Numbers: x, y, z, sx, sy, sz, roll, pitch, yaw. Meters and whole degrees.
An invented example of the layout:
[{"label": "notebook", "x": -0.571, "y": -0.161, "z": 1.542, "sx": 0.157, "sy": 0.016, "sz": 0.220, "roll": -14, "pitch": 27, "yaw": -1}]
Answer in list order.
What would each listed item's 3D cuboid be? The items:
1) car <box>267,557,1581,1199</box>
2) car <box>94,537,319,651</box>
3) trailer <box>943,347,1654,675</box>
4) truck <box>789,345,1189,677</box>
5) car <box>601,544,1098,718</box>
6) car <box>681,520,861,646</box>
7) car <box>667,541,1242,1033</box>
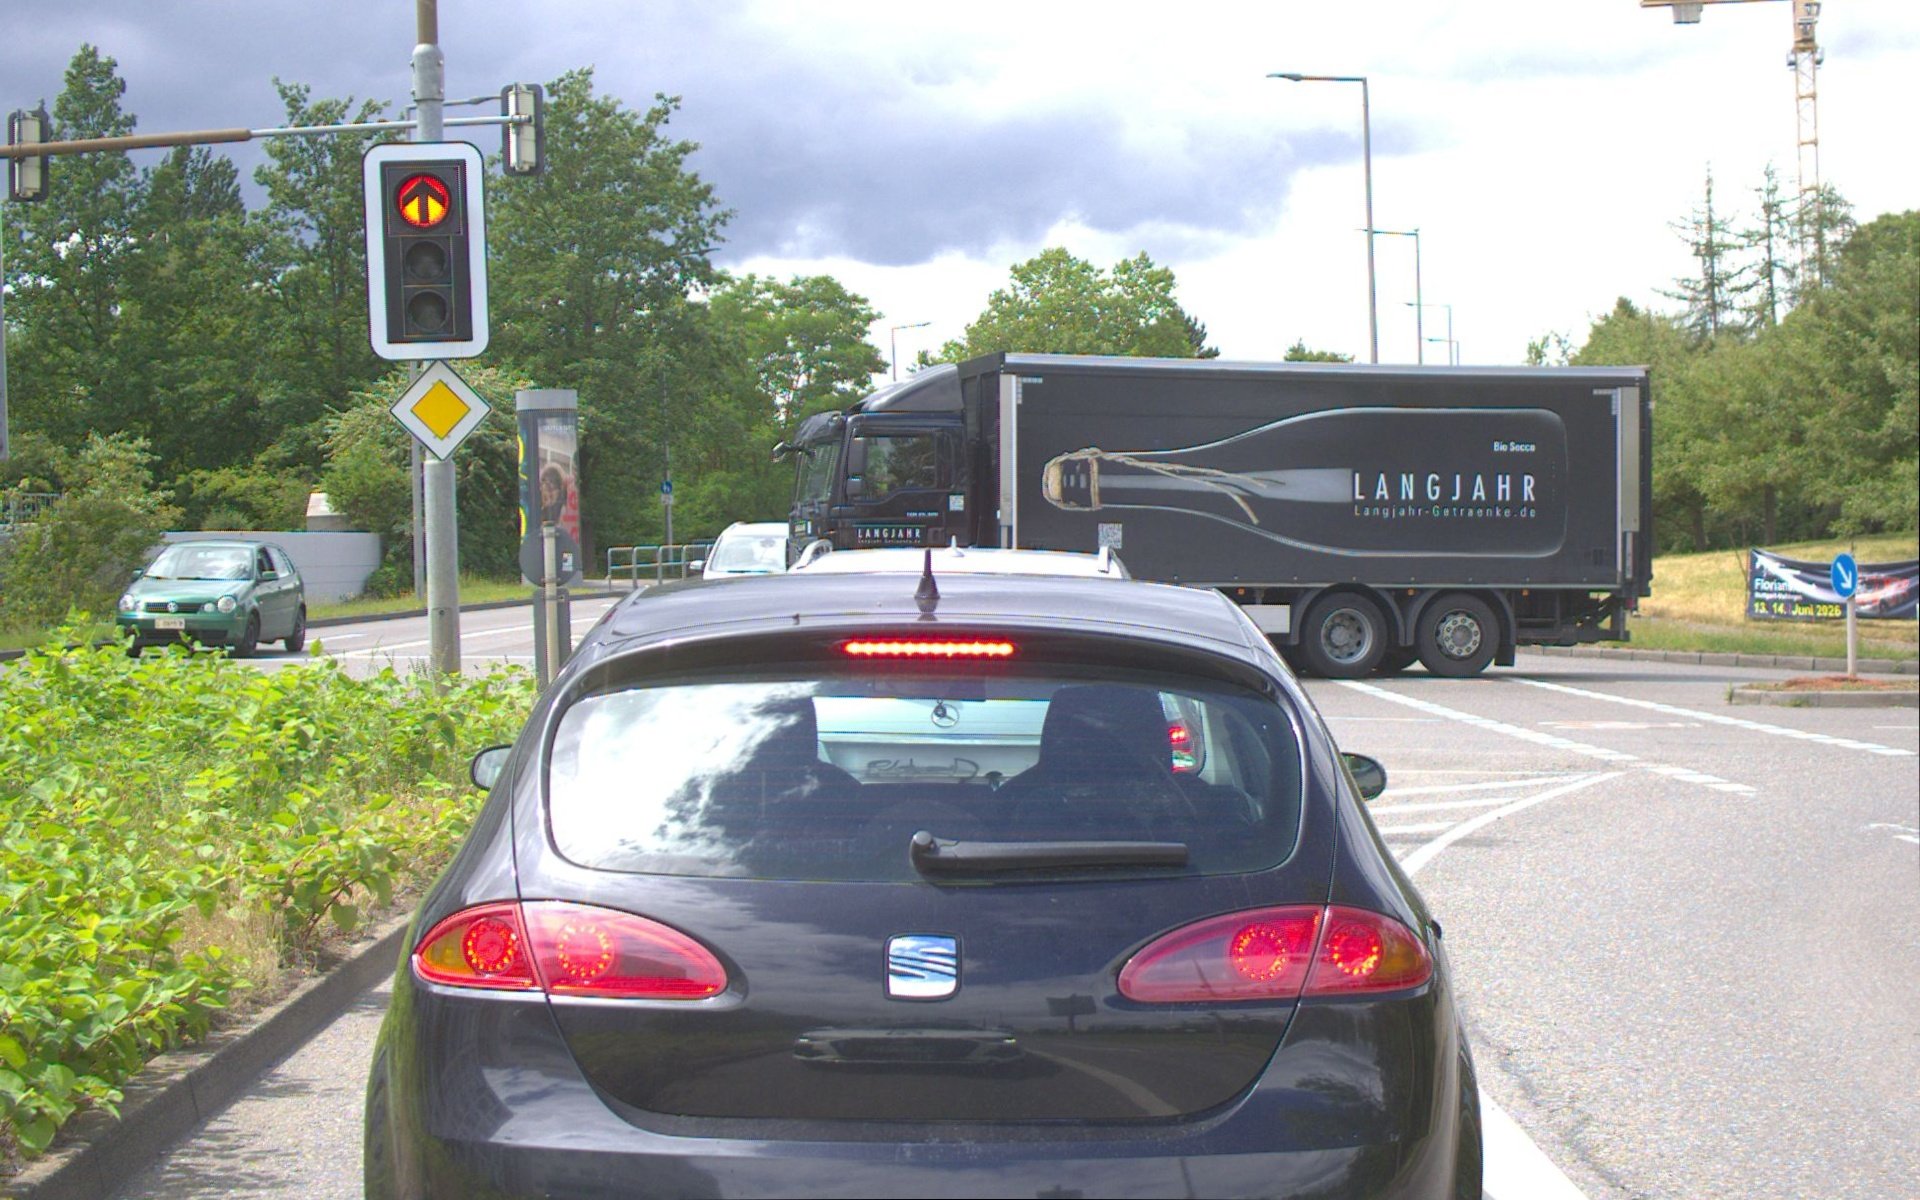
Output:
[{"label": "car", "x": -0.074, "y": 0.663, "z": 6.447, "sx": 1.773, "sy": 1.447, "sz": 3.582, "roll": 0, "pitch": 1, "yaw": -1}, {"label": "car", "x": -9.425, "y": -0.105, "z": 43.324, "sx": 1.993, "sy": 1.347, "sz": 4.000, "roll": 0, "pitch": 1, "yaw": -1}, {"label": "trailer", "x": 3.734, "y": -0.987, "z": 38.048, "sx": 7.582, "sy": 3.446, "sz": 2.001, "roll": 0, "pitch": 1, "yaw": -13}, {"label": "truck", "x": 0.283, "y": -0.957, "z": 37.198, "sx": 3.986, "sy": 3.457, "sz": 2.001, "roll": 0, "pitch": 1, "yaw": -12}, {"label": "car", "x": -0.948, "y": 0.223, "z": 30.442, "sx": 3.988, "sy": 1.415, "sz": 2.000, "roll": -1, "pitch": 2, "yaw": -38}, {"label": "car", "x": -2.472, "y": -0.265, "z": 45.843, "sx": 1.994, "sy": 1.590, "sz": 4.000, "roll": 0, "pitch": 1, "yaw": 3}, {"label": "car", "x": -0.101, "y": 0.556, "z": 12.591, "sx": 1.773, "sy": 1.486, "sz": 3.583, "roll": -2, "pitch": 1, "yaw": -3}]
